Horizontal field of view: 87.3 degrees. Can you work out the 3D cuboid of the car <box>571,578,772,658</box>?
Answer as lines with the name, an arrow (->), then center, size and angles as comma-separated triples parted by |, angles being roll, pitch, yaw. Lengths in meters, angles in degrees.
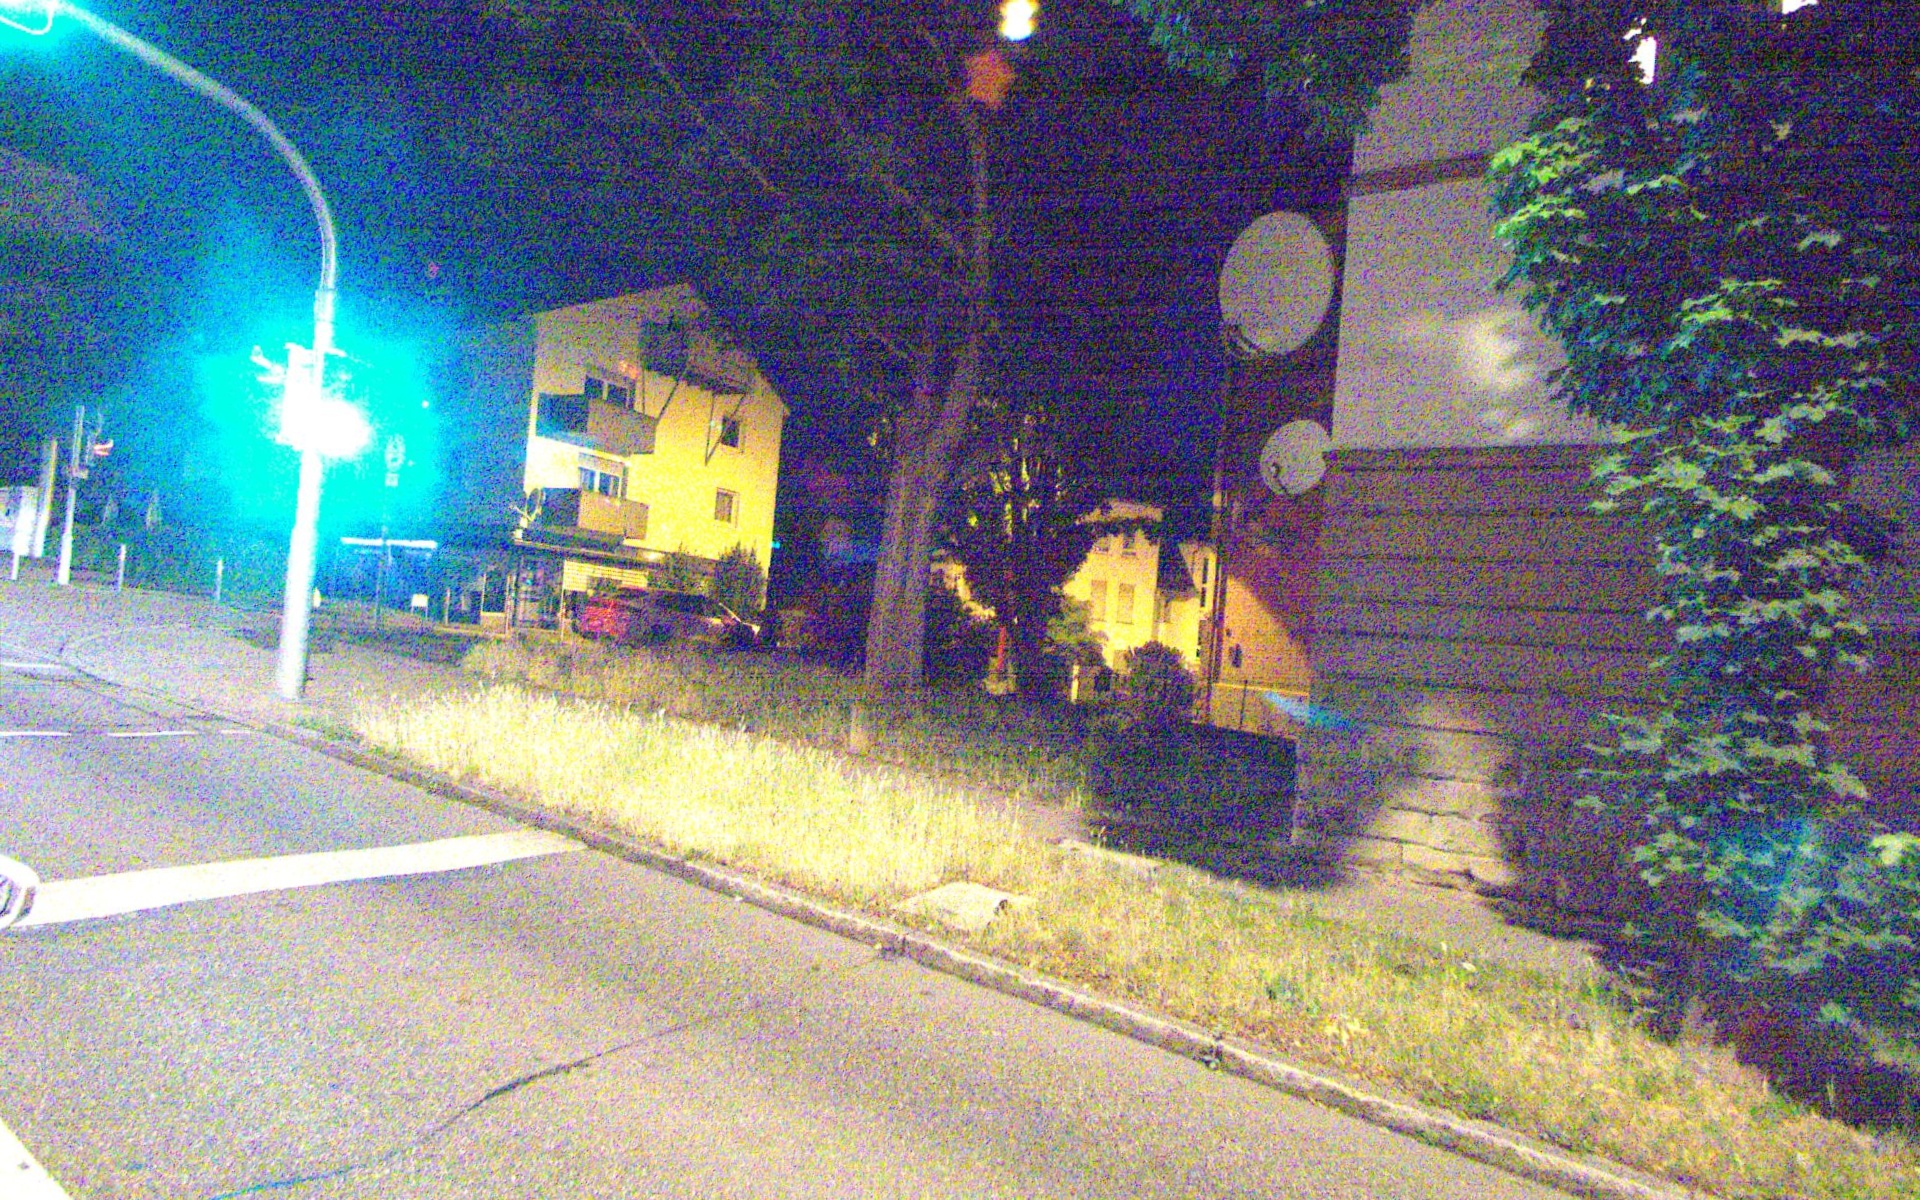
car -> -6.541, 0.459, 23.172 | 1.740, 1.295, 4.131 | 6, -3, 39
